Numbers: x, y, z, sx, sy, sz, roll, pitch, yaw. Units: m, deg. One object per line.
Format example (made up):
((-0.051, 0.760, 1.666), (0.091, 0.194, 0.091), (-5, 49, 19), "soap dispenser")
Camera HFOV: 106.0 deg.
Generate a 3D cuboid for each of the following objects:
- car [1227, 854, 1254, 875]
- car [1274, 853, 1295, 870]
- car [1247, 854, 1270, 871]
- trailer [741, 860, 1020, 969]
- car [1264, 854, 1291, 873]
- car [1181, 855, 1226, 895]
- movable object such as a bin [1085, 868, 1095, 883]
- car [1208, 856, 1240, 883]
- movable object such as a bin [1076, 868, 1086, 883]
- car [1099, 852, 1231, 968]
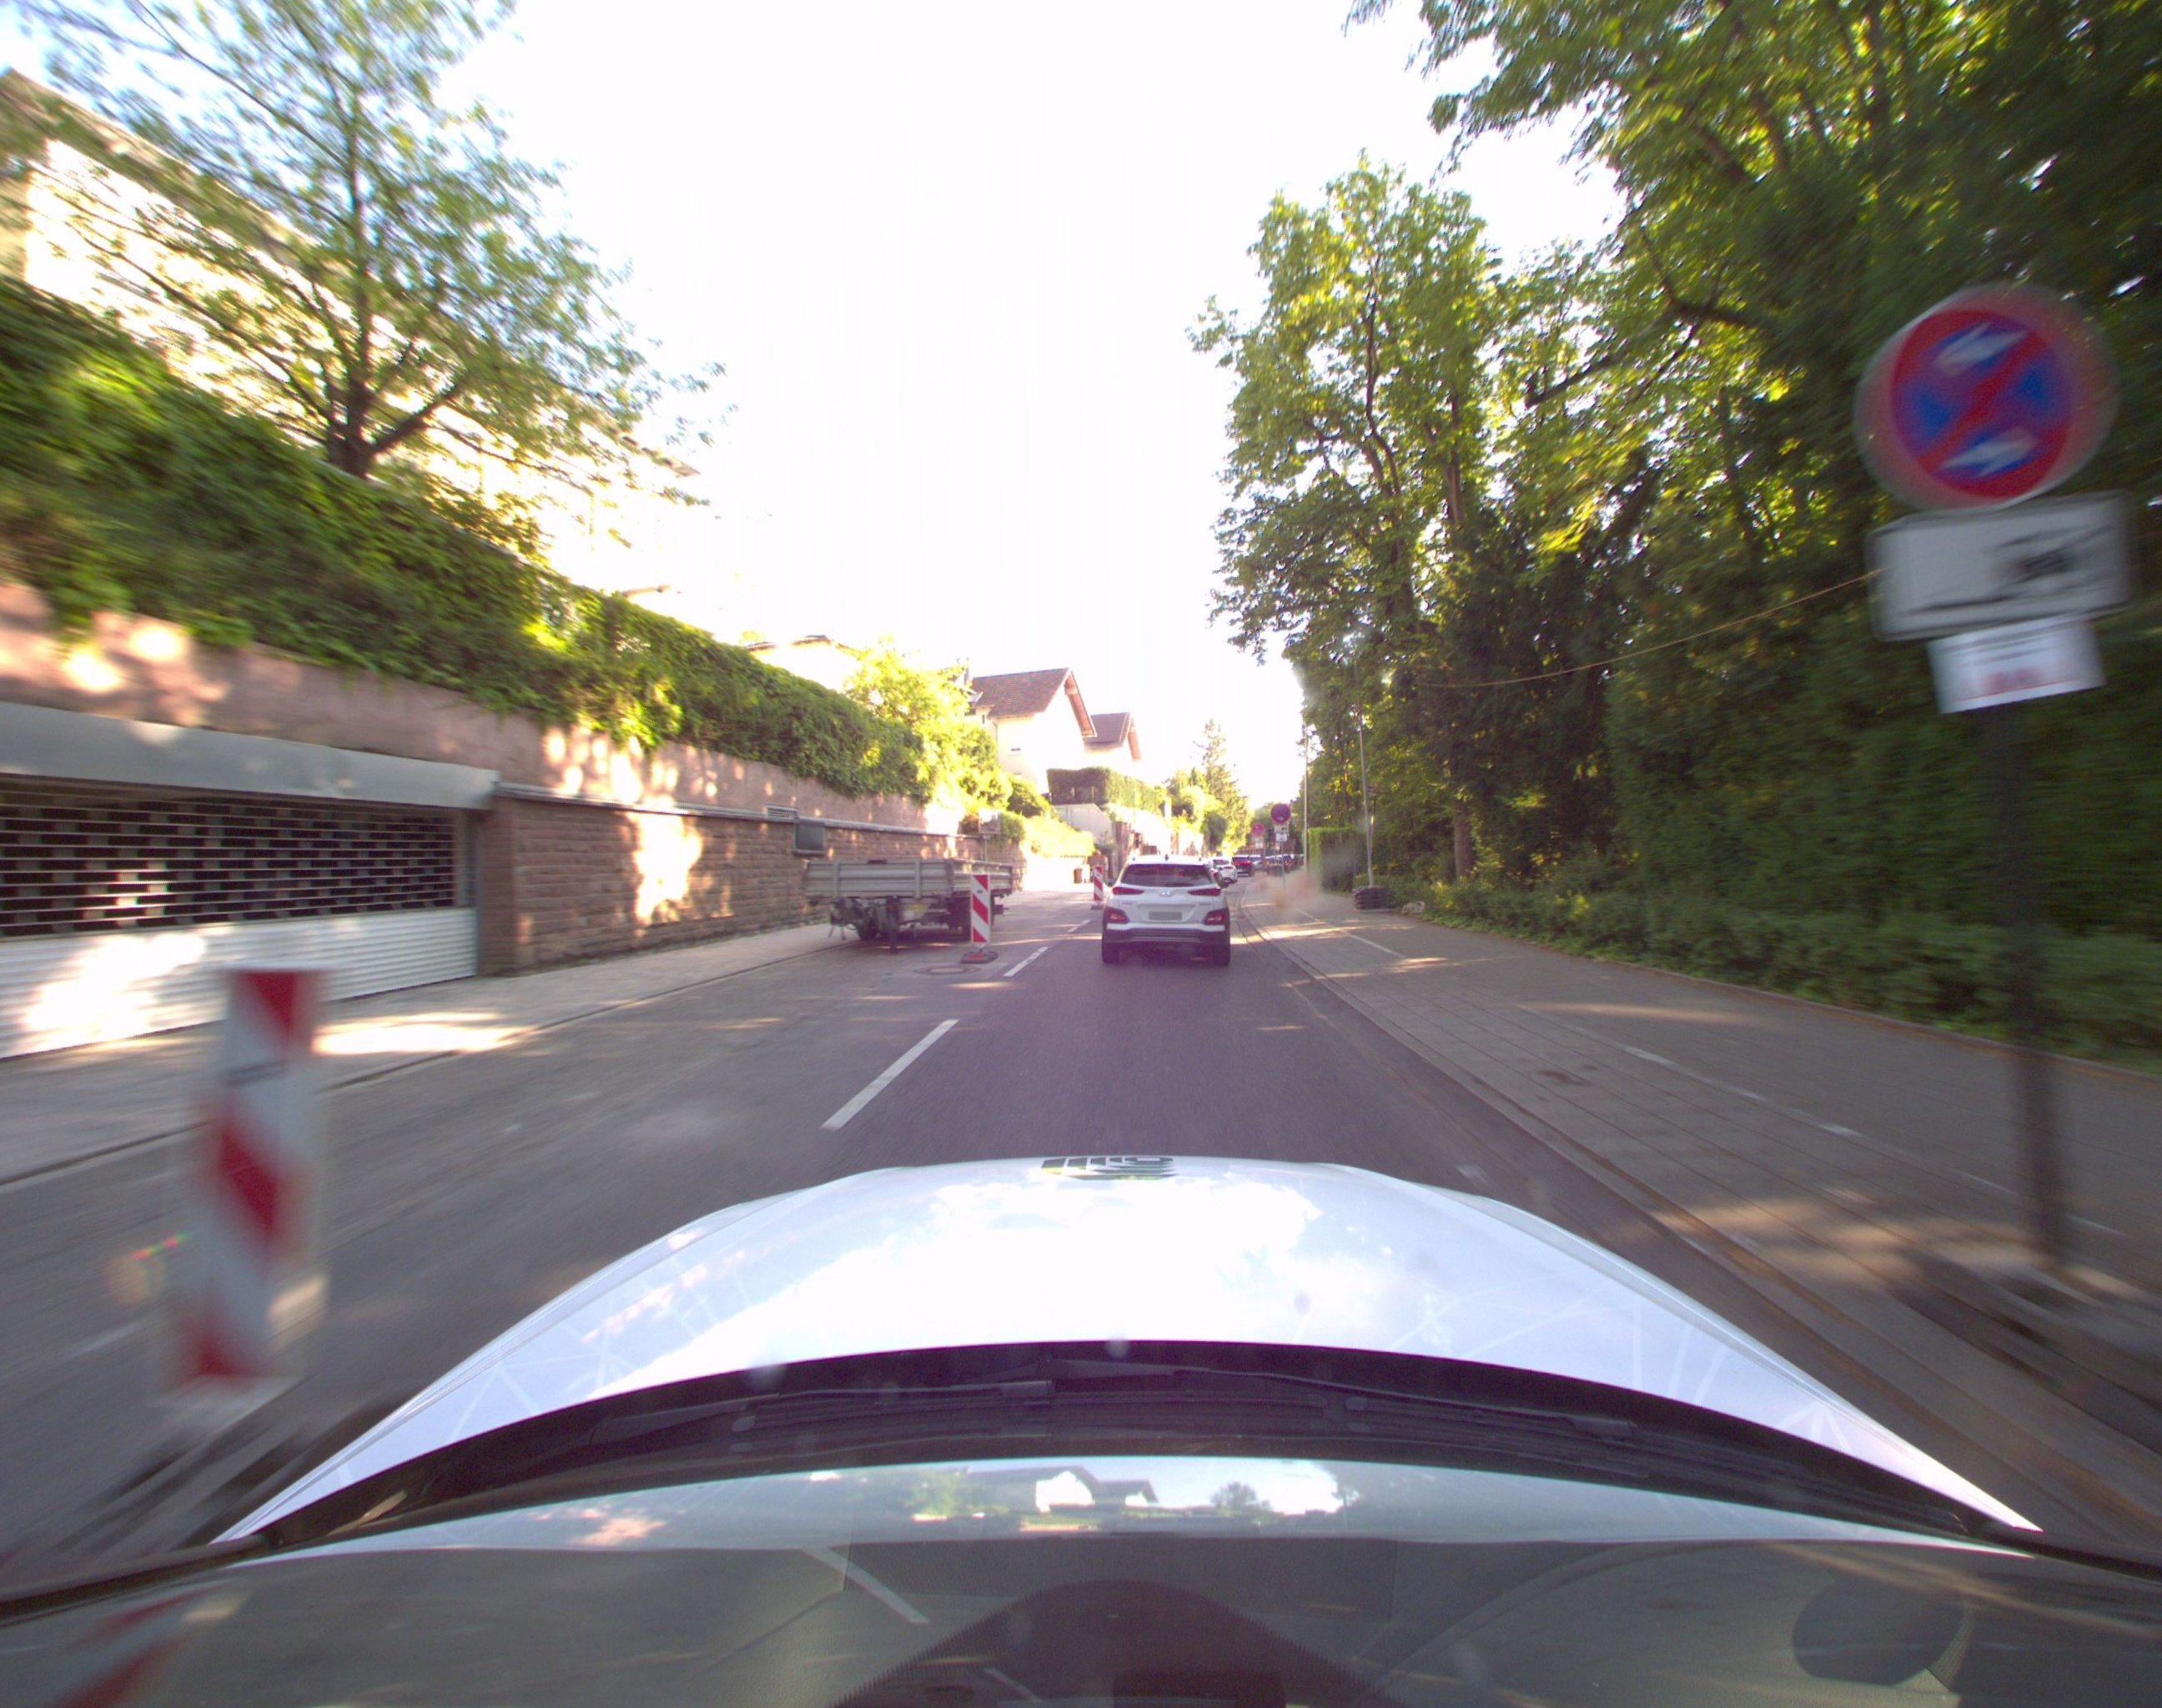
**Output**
((12.136, 0.773, 61.749), (1.681, 1.533, 3.897), (-1, 0, 15), "car")
((18.879, 0.665, 75.410), (1.639, 1.564, 2.886), (-1, 0, 19), "car")
((16.620, 0.771, 76.086), (1.680, 1.447, 3.899), (-1, 0, 18), "car")
((-3.064, 0.858, 14.799), (2.626, 1.489, 7.130), (0, 0, 6), "trailer")
((15.792, 0.756, 65.377), (1.780, 1.441, 4.018), (-1, 0, 17), "car")
((5.132, 0.834, 33.782), (1.501, 1.533, 3.561), (-2, 0, 13), "car")
((0.552, 1.256, 48.637), (0.453, 0.884, 0.503), (-1, 0, 16), "movable object such as a bin")
((8.194, 0.865, 46.516), (1.559, 1.477, 3.560), (-1, 0, 13), "car")
((0.018, 1.226, 46.673), (0.451, 0.834, 0.394), (-1, -1, 15), "movable object such as a bin")
((1.400, 0.756, 12.895), (1.762, 1.542, 4.009), (0, 0, 8), "car")
